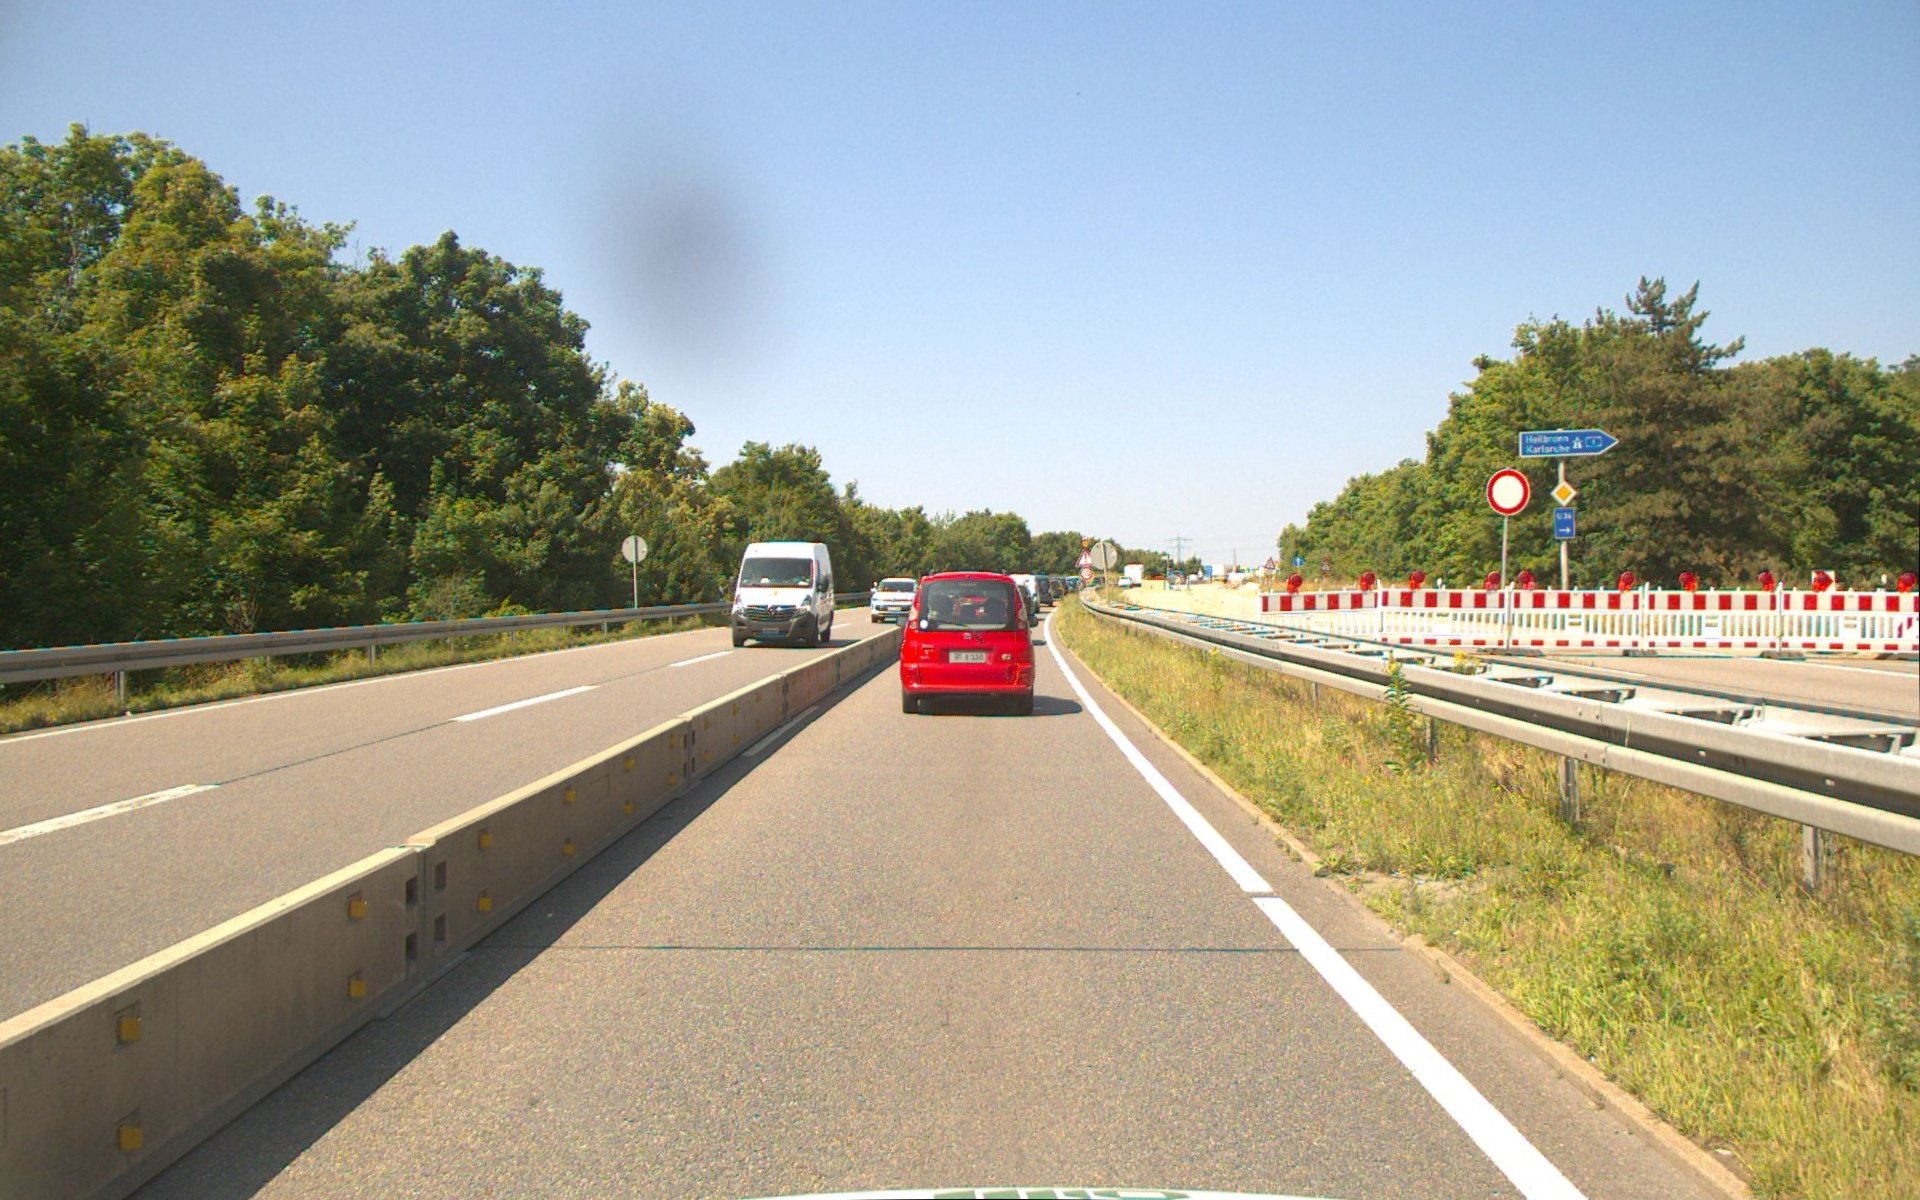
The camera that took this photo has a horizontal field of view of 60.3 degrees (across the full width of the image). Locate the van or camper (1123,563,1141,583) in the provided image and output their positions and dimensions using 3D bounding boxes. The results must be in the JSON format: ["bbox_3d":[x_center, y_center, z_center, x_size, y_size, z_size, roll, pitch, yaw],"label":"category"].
[{"bbox_3d":[24.299,-3.762,234.143,2.279,2.754,4.596,-1,0,4],"label":"van or camper"}]

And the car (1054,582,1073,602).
[{"bbox_3d":[9.092,-0.690,145.293,1.470,1.767,3.172,1,0,6],"label":"car"}]

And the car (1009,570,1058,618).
[{"bbox_3d":[2.985,-0.240,67.567,1.952,1.870,4.001,-1,0,2],"label":"car"}]

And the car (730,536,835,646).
[{"bbox_3d":[-4.299,-0.225,40.867,2.019,2.528,5.560,0,0,0],"label":"car"}]

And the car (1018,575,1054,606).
[{"bbox_3d":[4.443,-0.541,97.103,1.952,1.780,4.000,-1,0,0],"label":"car"}]

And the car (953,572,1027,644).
[{"bbox_3d":[0.782,0.175,42.956,1.792,1.752,4.001,1,0,1],"label":"car"}]

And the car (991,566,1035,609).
[{"bbox_3d":[2.595,-0.613,81.550,1.953,2.038,3.999,-1,0,-1],"label":"car"}]

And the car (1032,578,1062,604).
[{"bbox_3d":[6.160,-0.643,117.750,1.952,1.814,4.000,-1,0,1],"label":"car"}]

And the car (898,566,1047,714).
[{"bbox_3d":[0.191,0.454,21.217,1.715,1.702,4.001,1,0,1],"label":"car"}]

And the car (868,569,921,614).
[{"bbox_3d":[-2.447,-0.338,62.744,1.810,1.629,4.322,0,0,0],"label":"car"}]

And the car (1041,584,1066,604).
[{"bbox_3d":[7.567,-0.482,133.978,1.951,1.612,4.002,1,0,4],"label":"car"}]
